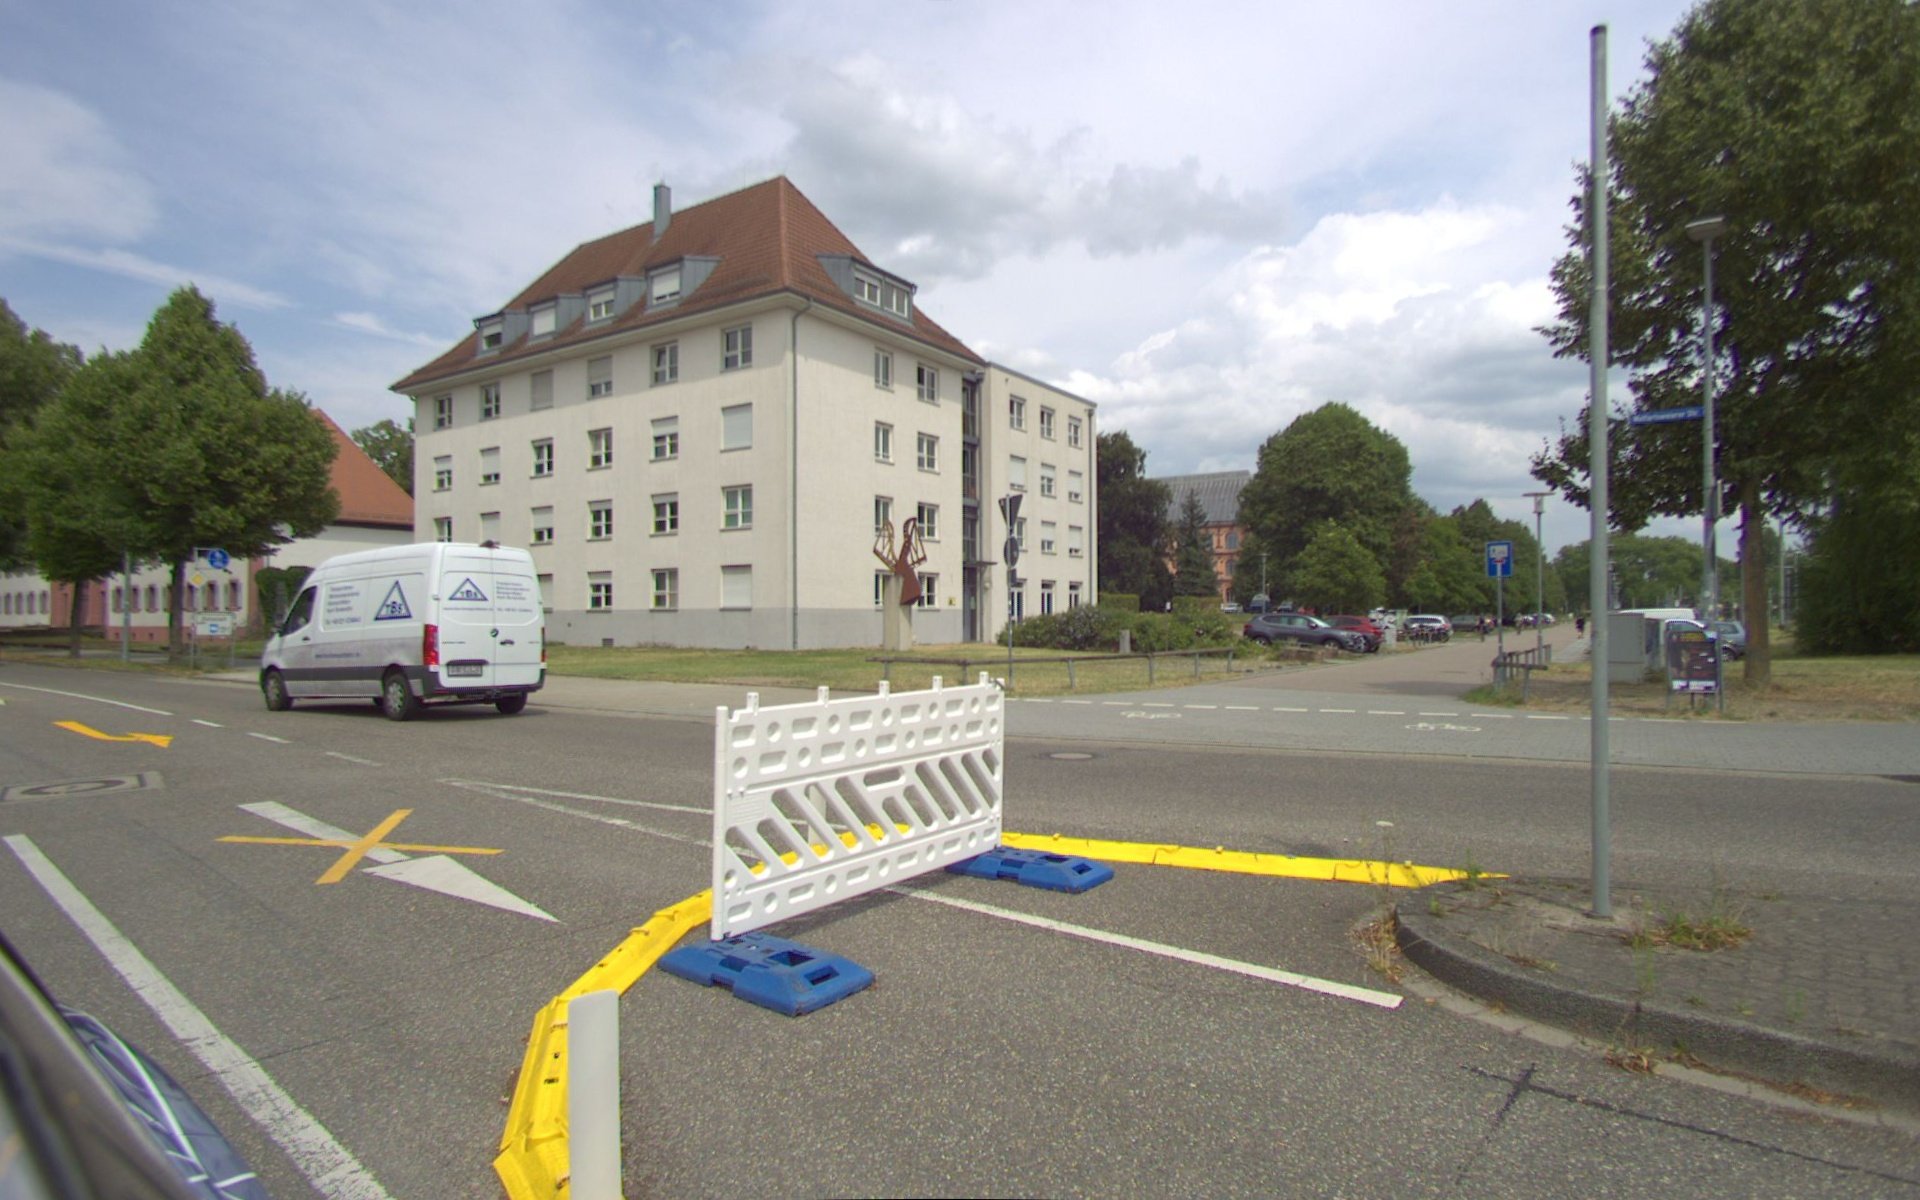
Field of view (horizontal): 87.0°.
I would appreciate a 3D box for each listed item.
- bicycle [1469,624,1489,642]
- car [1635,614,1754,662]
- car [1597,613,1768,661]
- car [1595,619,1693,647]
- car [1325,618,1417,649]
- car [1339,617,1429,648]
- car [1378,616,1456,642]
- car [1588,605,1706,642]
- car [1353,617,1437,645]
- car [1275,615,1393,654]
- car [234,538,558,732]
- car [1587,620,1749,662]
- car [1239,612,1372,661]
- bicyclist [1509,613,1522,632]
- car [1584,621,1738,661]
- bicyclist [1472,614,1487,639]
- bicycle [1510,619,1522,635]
[{"bbox_3d":[30.787,1.945,60.011,0.601,1.054,1.804,-2,-2,40],"label":"bicycle"},{"bbox_3d":[24.108,1.254,33.320,2.902,1.434,1.470,-3,-3,27],"label":"car"},{"bbox_3d":[25.234,1.304,35.585,4.690,1.482,1.814,-4,-2,31],"label":"car"},{"bbox_3d":[36.958,1.769,54.782,4.301,1.482,1.812,-1,-1,34],"label":"car"},{"bbox_3d":[20.305,1.635,50.073,3.995,1.479,1.597,-1,-1,33],"label":"car"},{"bbox_3d":[21.638,1.651,51.718,3.995,1.479,1.797,-1,-1,33],"label":"car"},{"bbox_3d":[27.216,1.705,60.271,3.995,1.479,1.797,-1,-1,33],"label":"car"},{"bbox_3d":[39.832,1.366,58.878,5.552,2.071,2.177,-1,-1,32],"label":"car"},{"bbox_3d":[23.623,1.673,55.007,3.995,1.479,1.797,-1,-1,33],"label":"car"},{"bbox_3d":[16.040,1.455,43.502,4.397,1.610,1.976,-1,-1,35],"label":"car"},{"bbox_3d":[-9.380,0.541,16.630,5.950,2.706,2.049,-1,-1,32],"label":"car"},{"bbox_3d":[26.471,1.509,38.048,4.876,1.482,1.812,-1,-1,34],"label":"car"},{"bbox_3d":[13.239,1.384,38.835,4.487,1.778,1.978,-1,-1,33],"label":"car"},{"bbox_3d":[42.335,1.735,77.120,0.776,1.415,0.722,-1,-1,30],"label":"bicyclist"},{"bbox_3d":[27.659,1.596,40.110,4.876,1.482,1.812,-1,-1,34],"label":"car"},{"bbox_3d":[30.836,1.578,60.084,0.602,1.434,0.792,-2,-2,41],"label":"bicyclist"},{"bbox_3d":[42.355,2.086,77.129,0.776,1.185,2.207,-1,-1,29],"label":"bicycle"}]
